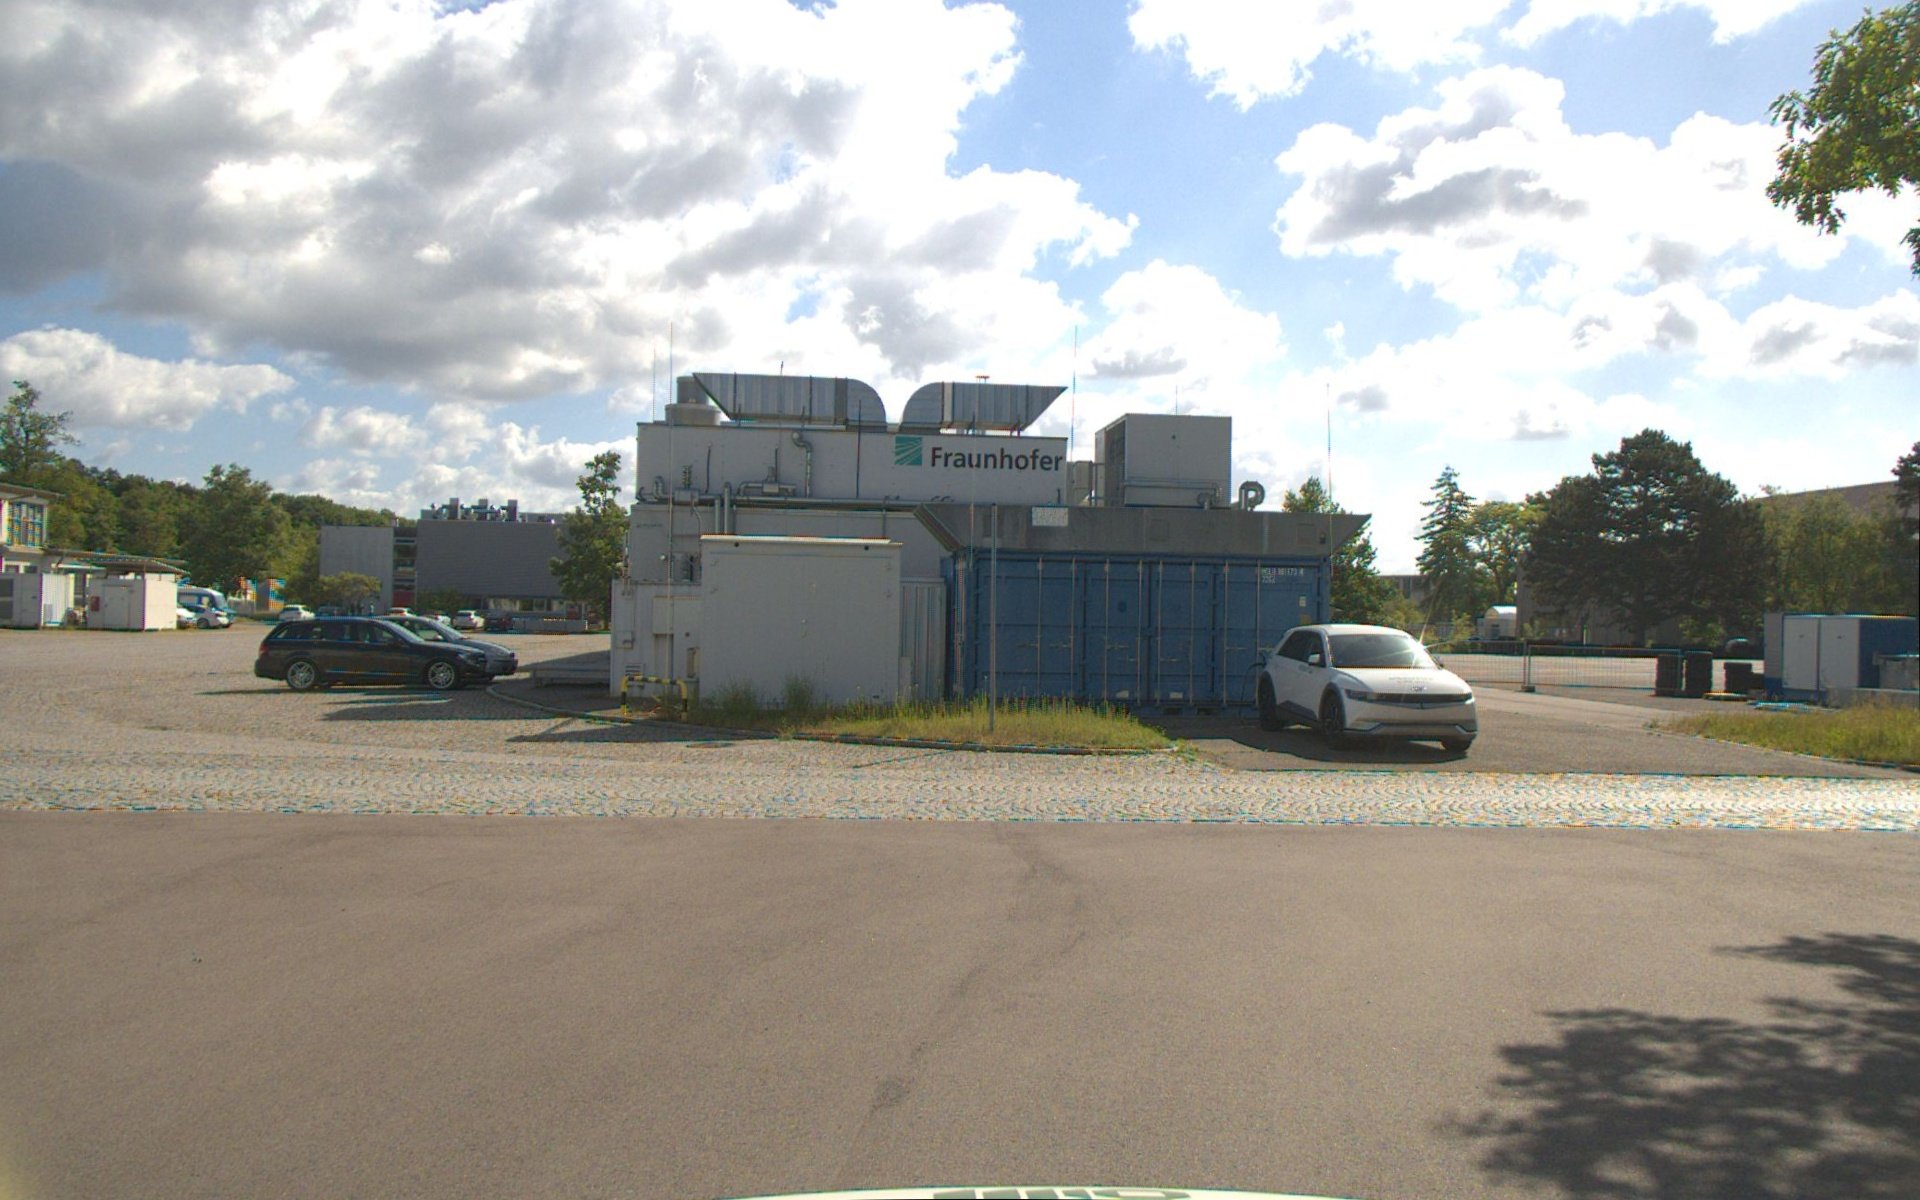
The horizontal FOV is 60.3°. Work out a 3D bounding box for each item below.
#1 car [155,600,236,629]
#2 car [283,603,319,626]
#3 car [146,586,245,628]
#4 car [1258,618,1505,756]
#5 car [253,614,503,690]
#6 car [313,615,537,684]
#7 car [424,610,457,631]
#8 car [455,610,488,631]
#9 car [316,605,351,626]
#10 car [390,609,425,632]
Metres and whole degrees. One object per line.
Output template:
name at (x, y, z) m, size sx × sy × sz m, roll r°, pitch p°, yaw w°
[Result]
car at (-46.490, 0.894, 100.592) m, size 4.027 × 1.659 × 1.807 m, roll 1°, pitch -1°, yaw -2°
car at (-50.466, 1.150, 126.729) m, size 1.813 × 1.698 × 4.122 m, roll -1°, pitch -1°, yaw -11°
car at (-47.744, 0.458, 103.411) m, size 5.152 × 2.485 × 2.048 m, roll 1°, pitch -1°, yaw -2°
car at (5.756, 1.136, 23.187) m, size 1.943 × 1.621 × 4.335 m, roll 1°, pitch 0°, yaw -6°
car at (-11.812, 1.083, 33.833) m, size 4.442 × 1.468 × 1.984 m, roll 1°, pitch -2°, yaw -6°
car at (-11.918, 1.122, 37.096) m, size 4.442 × 1.468 × 1.901 m, roll 1°, pitch -2°, yaw -6°
car at (-40.137, 1.626, 127.884) m, size 1.842 × 1.564 × 4.027 m, roll -1°, pitch -1°, yaw -8°
car at (-37.891, 1.596, 128.365) m, size 1.842 × 1.564 × 4.027 m, roll -1°, pitch -1°, yaw -8°
car at (-48.062, 1.180, 126.886) m, size 1.844 × 1.564 × 4.024 m, roll -1°, pitch -1°, yaw -11°
car at (-42.655, 1.587, 127.747) m, size 1.842 × 1.719 × 4.027 m, roll -1°, pitch -1°, yaw -8°
